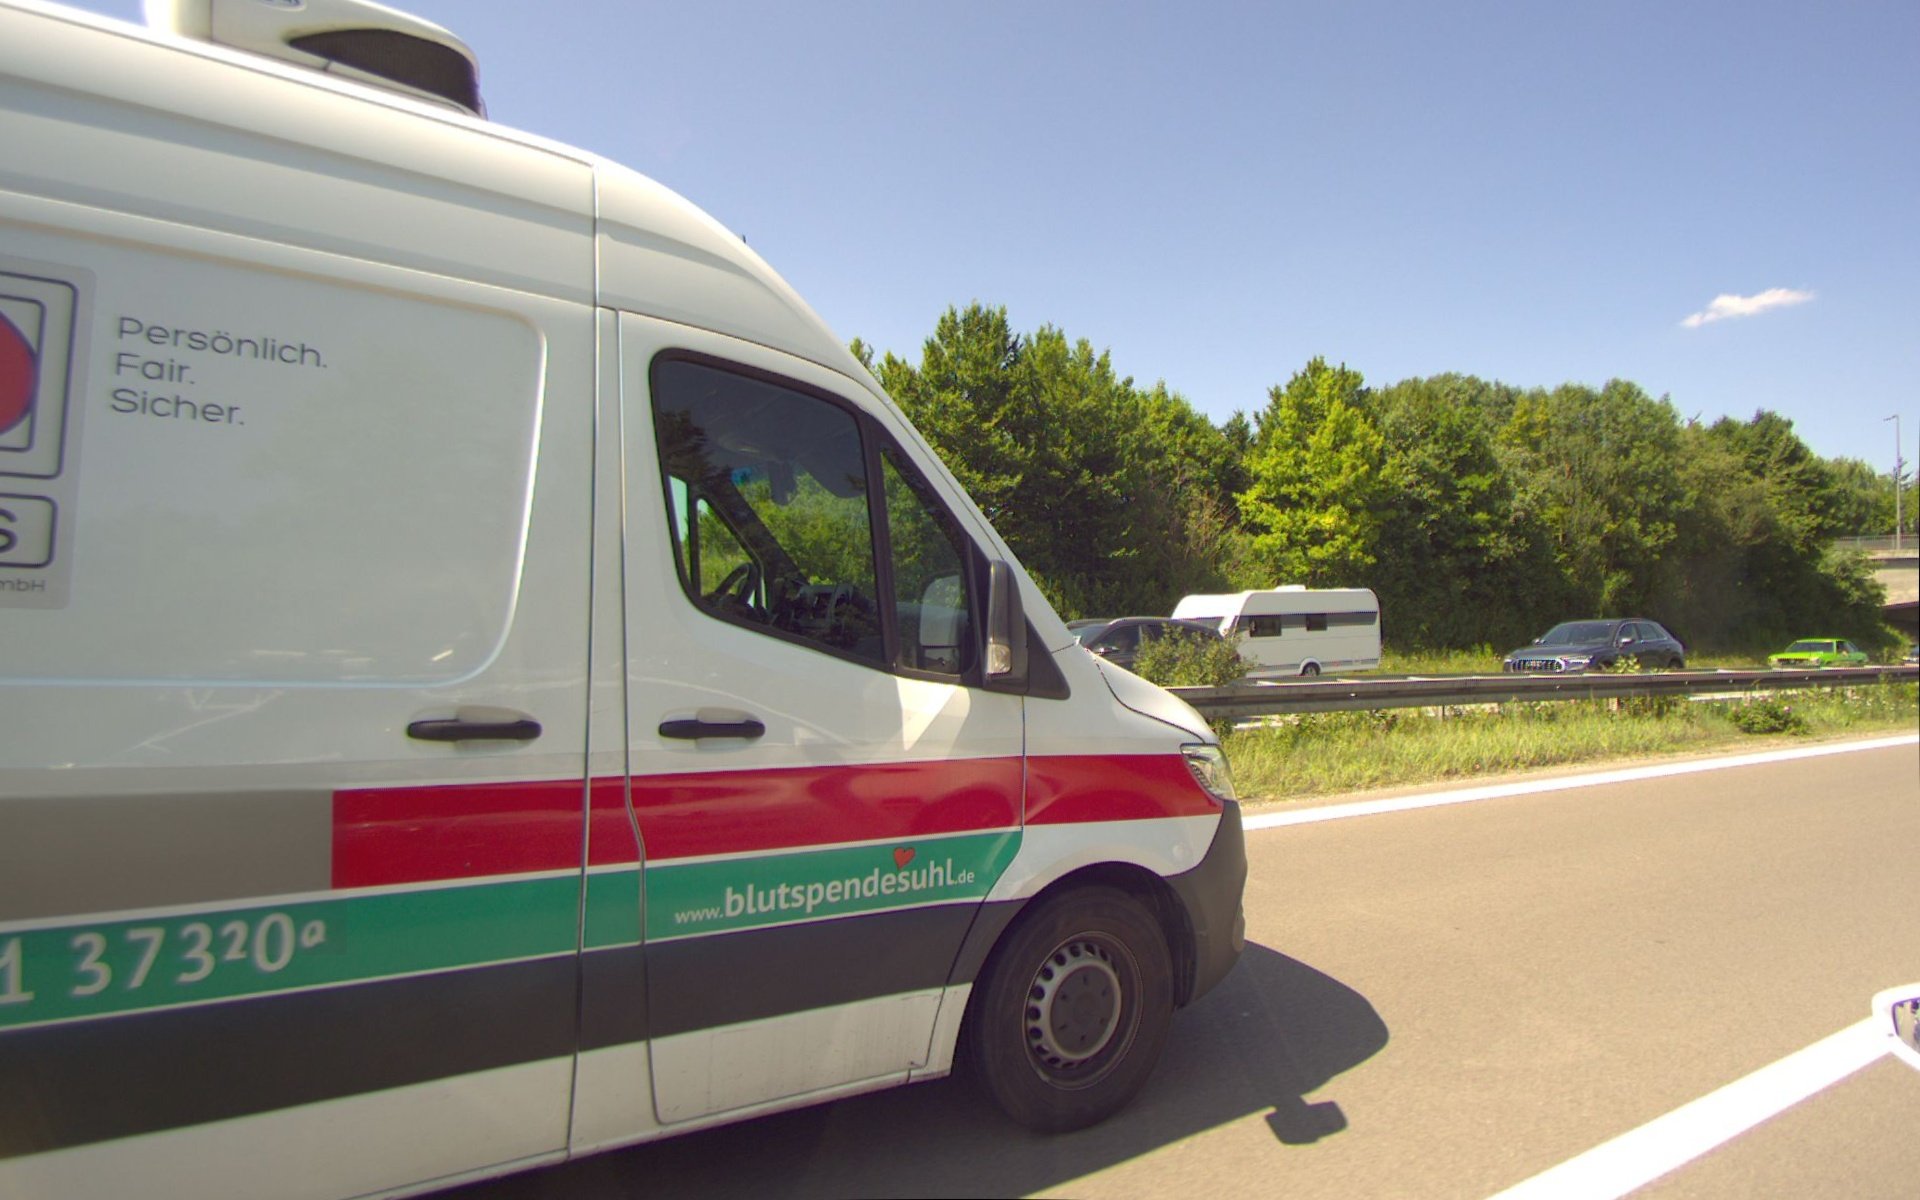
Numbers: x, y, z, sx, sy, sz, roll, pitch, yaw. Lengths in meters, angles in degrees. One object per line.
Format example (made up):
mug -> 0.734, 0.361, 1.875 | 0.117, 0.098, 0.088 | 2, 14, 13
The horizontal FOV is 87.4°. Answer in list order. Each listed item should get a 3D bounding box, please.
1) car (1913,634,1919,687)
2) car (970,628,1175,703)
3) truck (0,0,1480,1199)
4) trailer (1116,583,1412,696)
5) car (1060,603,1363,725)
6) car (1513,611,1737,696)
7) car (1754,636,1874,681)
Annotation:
car -> 33.724, 2.026, 33.462 | 3.953, 1.715, 1.863 | 1, -1, -31
car -> 2.727, 1.507, 23.993 | 4.754, 1.628, 1.838 | 1, -1, -30
truck -> -1.470, 0.159, 2.729 | 6.616, 2.576, 1.983 | 1, 0, -32
trailer -> 8.473, 1.048, 27.500 | 8.529, 2.723, 2.719 | 1, -1, -30
car -> 3.817, 0.933, 15.015 | 4.371, 1.594, 1.841 | 3, -2, -31
car -> 14.236, 1.088, 21.440 | 5.029, 1.626, 1.984 | 1, -1, -30
car -> 30.040, 2.016, 35.295 | 4.747, 1.446, 1.736 | 1, -1, -30
